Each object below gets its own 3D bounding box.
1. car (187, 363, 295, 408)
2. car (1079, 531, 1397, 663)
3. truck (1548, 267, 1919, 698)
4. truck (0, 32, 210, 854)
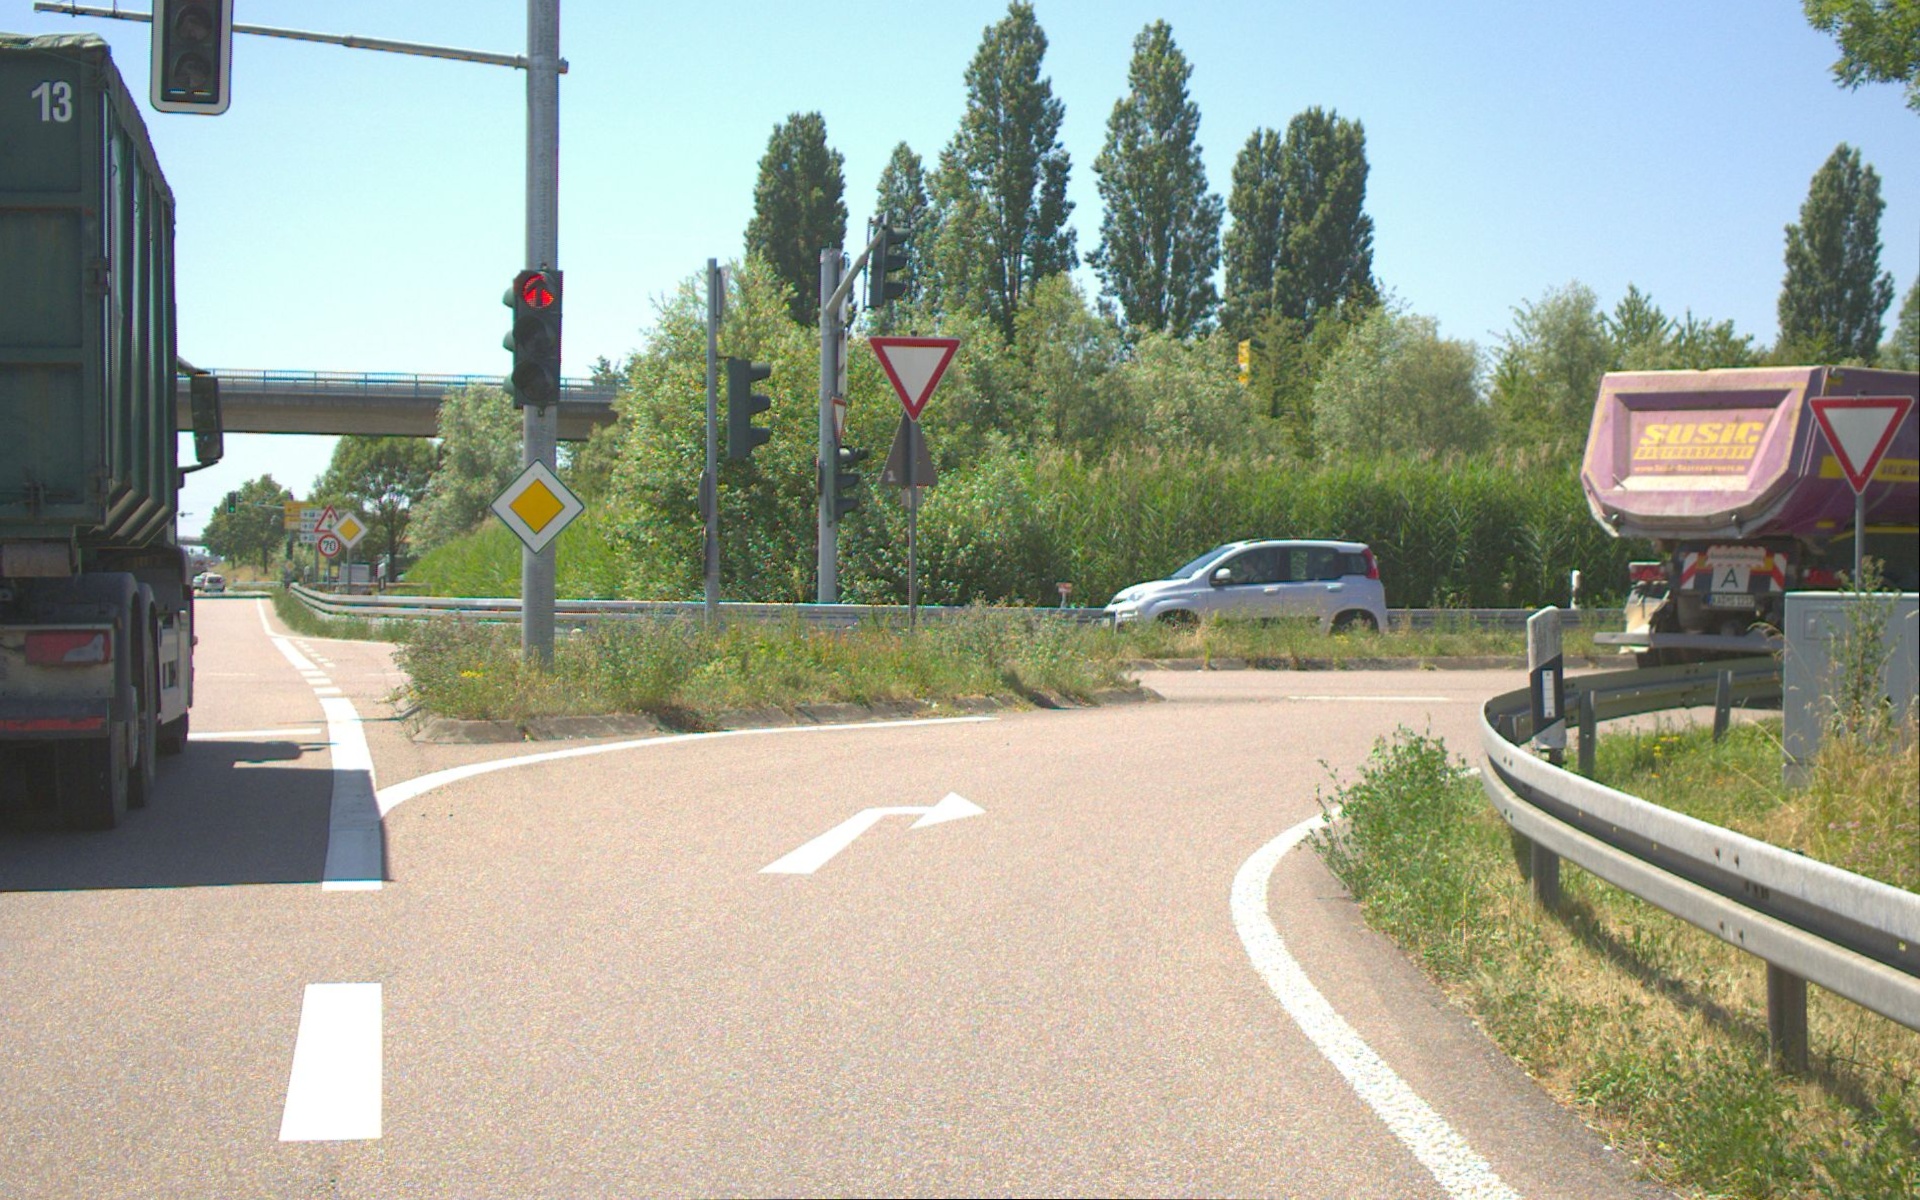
[{"bbox_3d":[-34.095,-10.167,163.050,4.959,2.007,2.001,0,1,-10],"label":"car"},{"bbox_3d":[3.515,-0.057,43.750,3.705,1.626,1.735,0,1,-10],"label":"car"},{"bbox_3d":[11.083,-1.114,35.136,11.849,3.808,2.842,-1,1,-39],"label":"truck"},{"bbox_3d":[-5.952,-0.805,20.175,2.589,3.724,9.578,0,1,-10],"label":"truck"}]
